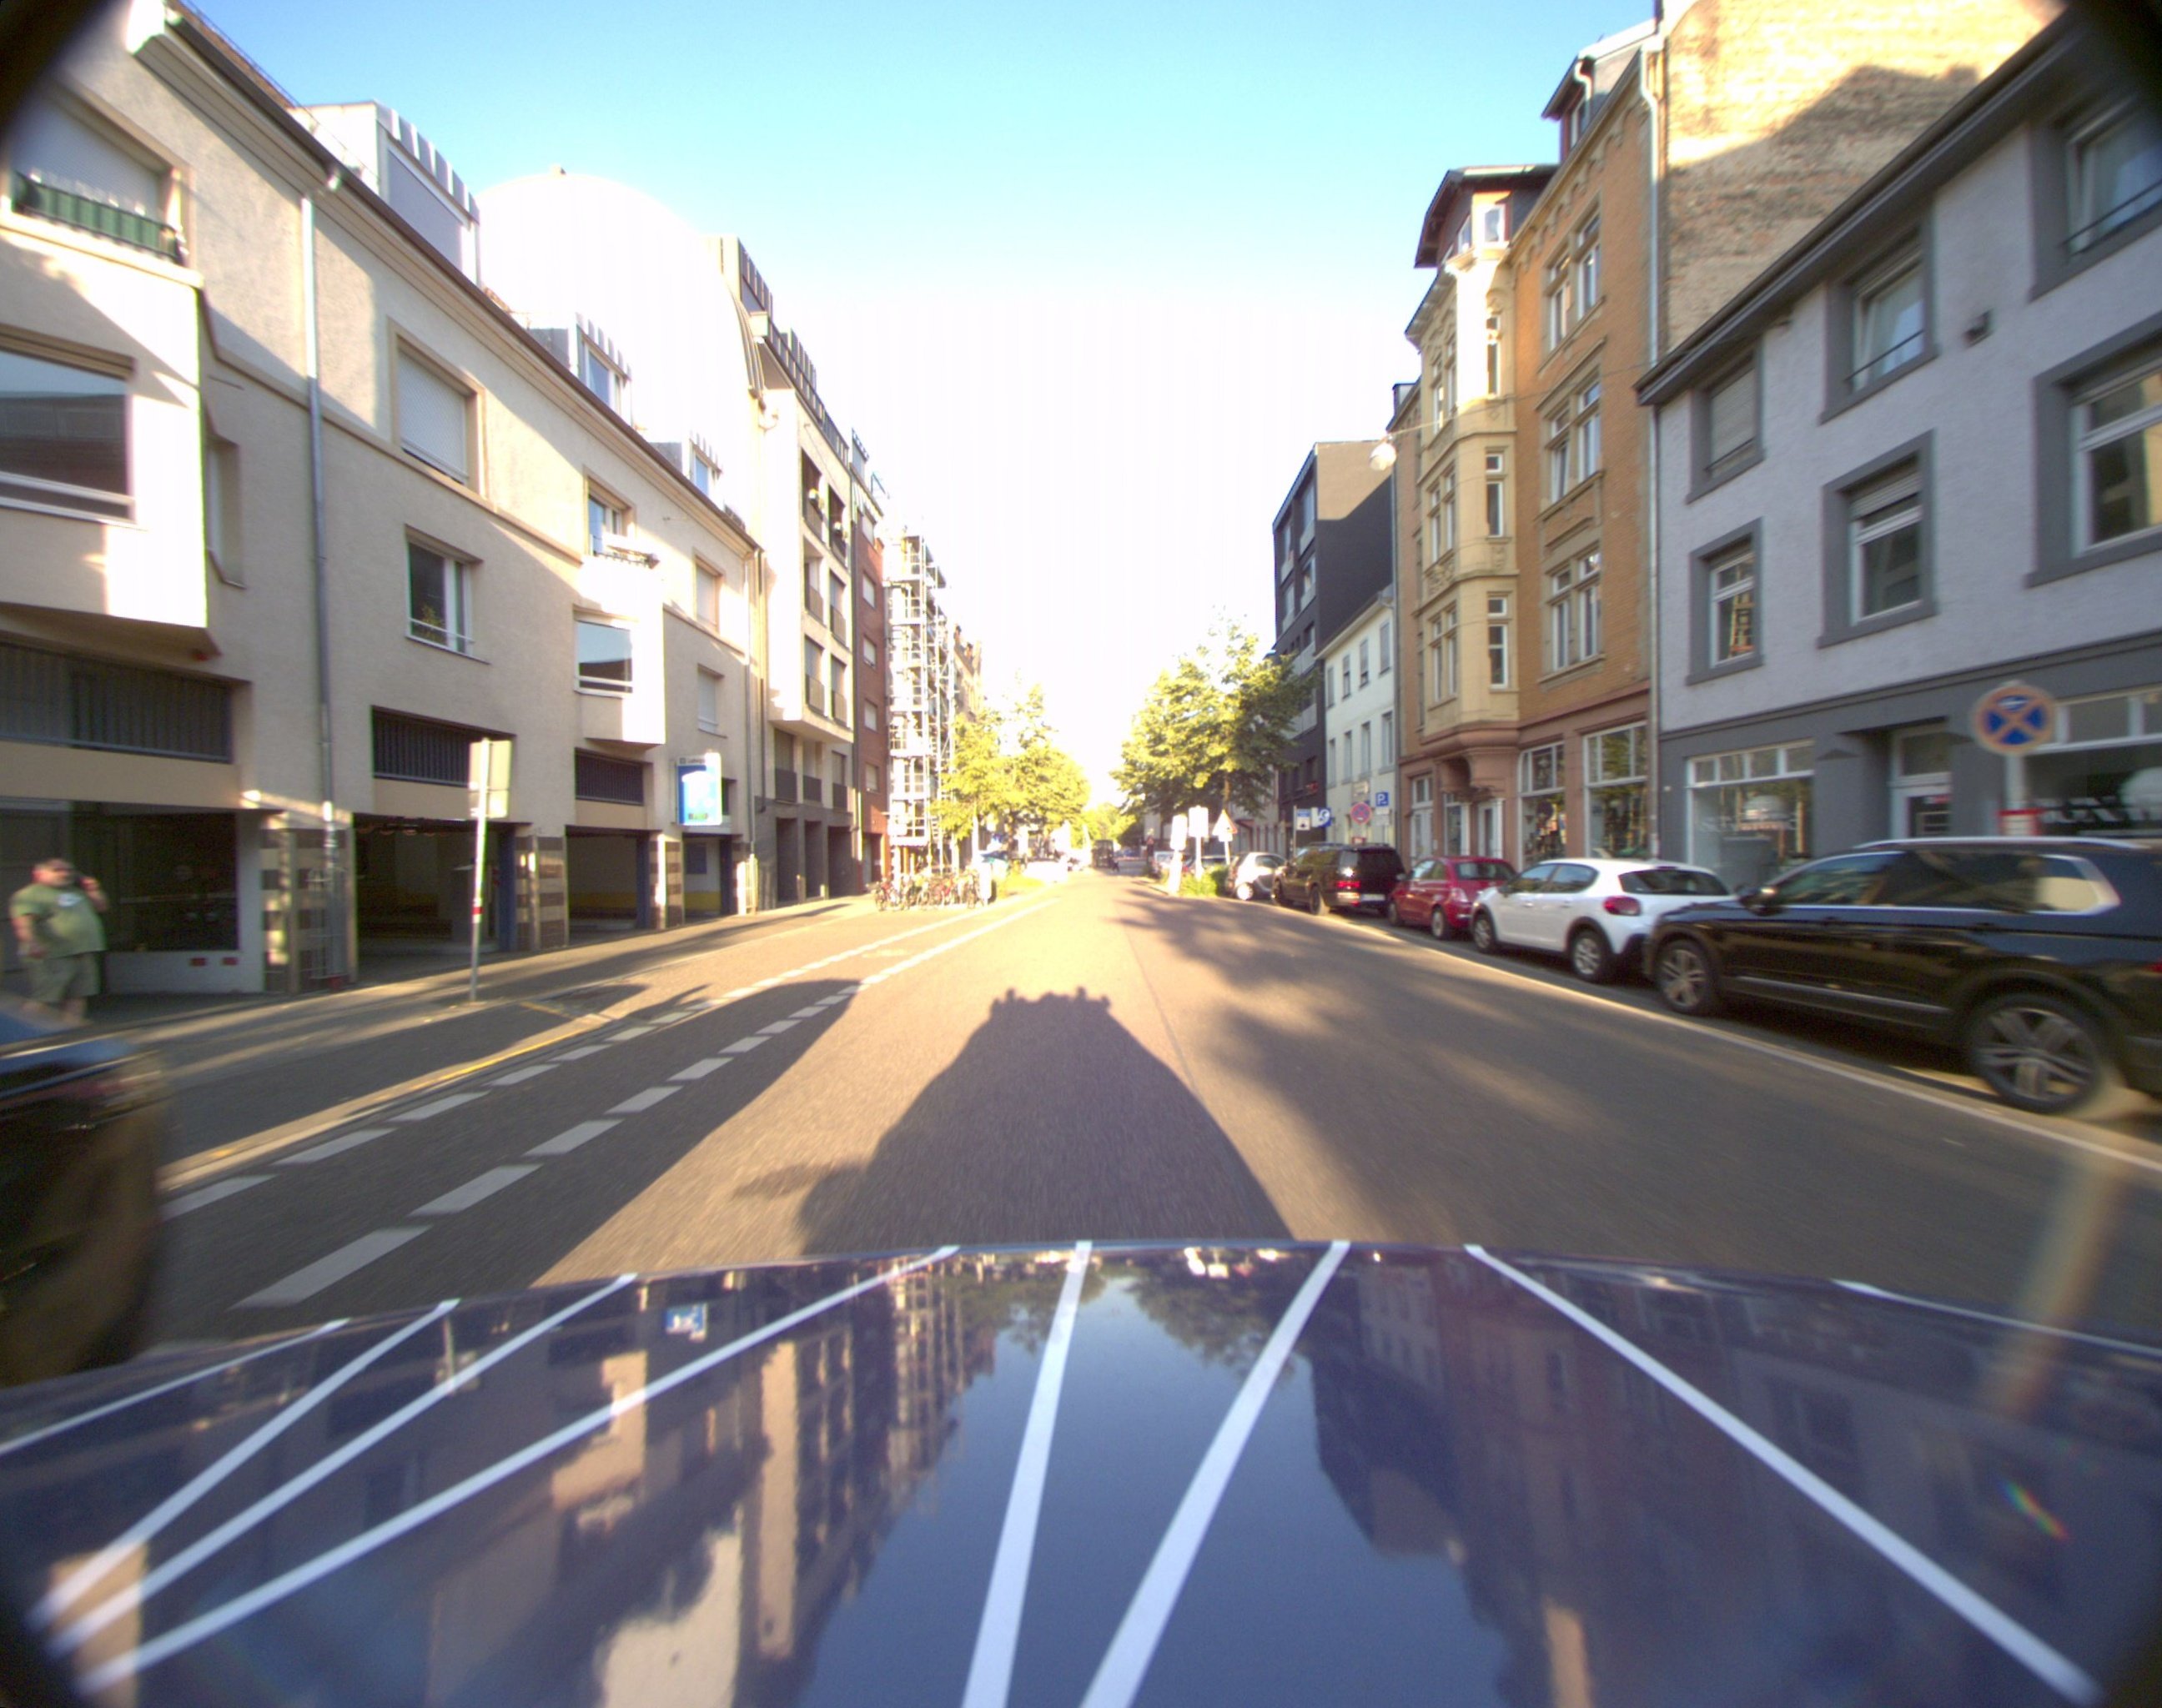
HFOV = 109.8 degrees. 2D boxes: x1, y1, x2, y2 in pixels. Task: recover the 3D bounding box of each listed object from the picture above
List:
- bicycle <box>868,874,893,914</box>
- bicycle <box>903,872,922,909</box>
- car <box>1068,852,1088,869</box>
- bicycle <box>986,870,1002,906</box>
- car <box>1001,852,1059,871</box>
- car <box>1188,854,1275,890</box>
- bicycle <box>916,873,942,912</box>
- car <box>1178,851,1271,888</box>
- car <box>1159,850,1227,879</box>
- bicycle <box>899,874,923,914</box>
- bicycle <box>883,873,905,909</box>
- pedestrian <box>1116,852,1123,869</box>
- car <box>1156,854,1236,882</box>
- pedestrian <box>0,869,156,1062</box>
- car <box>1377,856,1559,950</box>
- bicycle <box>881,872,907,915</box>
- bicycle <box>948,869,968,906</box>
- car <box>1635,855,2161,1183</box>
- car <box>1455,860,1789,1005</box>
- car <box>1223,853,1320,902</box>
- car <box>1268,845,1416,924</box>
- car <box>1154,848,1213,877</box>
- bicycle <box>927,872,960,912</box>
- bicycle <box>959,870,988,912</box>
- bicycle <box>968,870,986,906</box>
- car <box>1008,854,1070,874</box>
[{"bbox_3d":[-6.072,1.196,23.093,0.383,1.094,1.522,-1,1,-2],"label":"bicycle"},{"bbox_3d":[-5.403,1.153,24.381,0.383,1.094,1.522,-1,1,-5],"label":"bicycle"},{"bbox_3d":[-0.260,0.629,78.084,1.709,1.575,3.680,-1,1,4],"label":"car"},{"bbox_3d":[-2.807,1.081,24.600,0.383,1.094,1.523,-1,1,-1],"label":"bicycle"},{"bbox_3d":[-4.064,0.625,61.288,4.537,1.502,1.912,0,-1,2],"label":"car"},{"bbox_3d":[6.330,0.759,32.242,3.404,1.384,1.687,-2,0,4],"label":"car"},{"bbox_3d":[-4.606,1.148,23.086,0.382,1.094,1.565,-1,1,3],"label":"bicycle"},{"bbox_3d":[6.493,0.690,34.732,3.902,1.508,1.857,-2,0,3],"label":"car"},{"bbox_3d":[6.643,0.615,45.347,3.833,1.576,1.742,-2,1,5],"label":"car"},{"bbox_3d":[-5.071,1.177,22.750,0.383,1.094,1.523,-2,1,-1],"label":"bicycle"},{"bbox_3d":[-6.054,1.176,24.662,0.383,1.094,1.523,-1,1,-2],"label":"bicycle"},{"bbox_3d":[3.711,0.626,73.093,0.672,1.585,0.469,-1,1,7],"label":"pedestrian"},{"bbox_3d":[6.462,0.764,43.044,4.219,1.507,1.762,-1,1,-1],"label":"car"},{"bbox_3d":[-9.294,0.975,6.950,0.605,1.637,0.813,-1,1,7],"label":"pedestrian"},{"bbox_3d":[7.112,0.826,14.384,1.778,1.506,3.485,1,0,3],"label":"car"},{"bbox_3d":[-5.581,1.146,22.708,0.383,1.182,1.522,-2,1,-2],"label":"bicycle"},{"bbox_3d":[-3.969,1.060,24.452,0.383,1.094,1.520,-1,1,-19],"label":"bicycle"},{"bbox_3d":[6.427,0.849,5.551,1.778,1.623,4.238,1,0,3],"label":"car"},{"bbox_3d":[6.835,0.864,10.220,1.778,1.506,3.950,1,0,3],"label":"car"},{"bbox_3d":[6.128,0.740,24.633,2.701,1.511,1.572,1,0,-1],"label":"car"},{"bbox_3d":[6.335,0.651,19.079,1.909,1.718,4.700,0,1,-3],"label":"car"},{"bbox_3d":[6.771,0.559,50.404,3.818,1.839,1.700,-1,1,5],"label":"car"},{"bbox_3d":[-4.105,1.123,22.800,0.371,1.101,1.524,-1,1,14],"label":"bicycle"},{"bbox_3d":[-3.211,1.093,22.810,0.363,1.134,1.566,-1,1,10],"label":"bicycle"},{"bbox_3d":[-3.325,1.080,24.423,0.383,1.094,1.523,-1,1,-1],"label":"bicycle"},{"bbox_3d":[-3.225,0.783,58.428,4.536,1.471,1.868,0,1,4],"label":"car"}]
